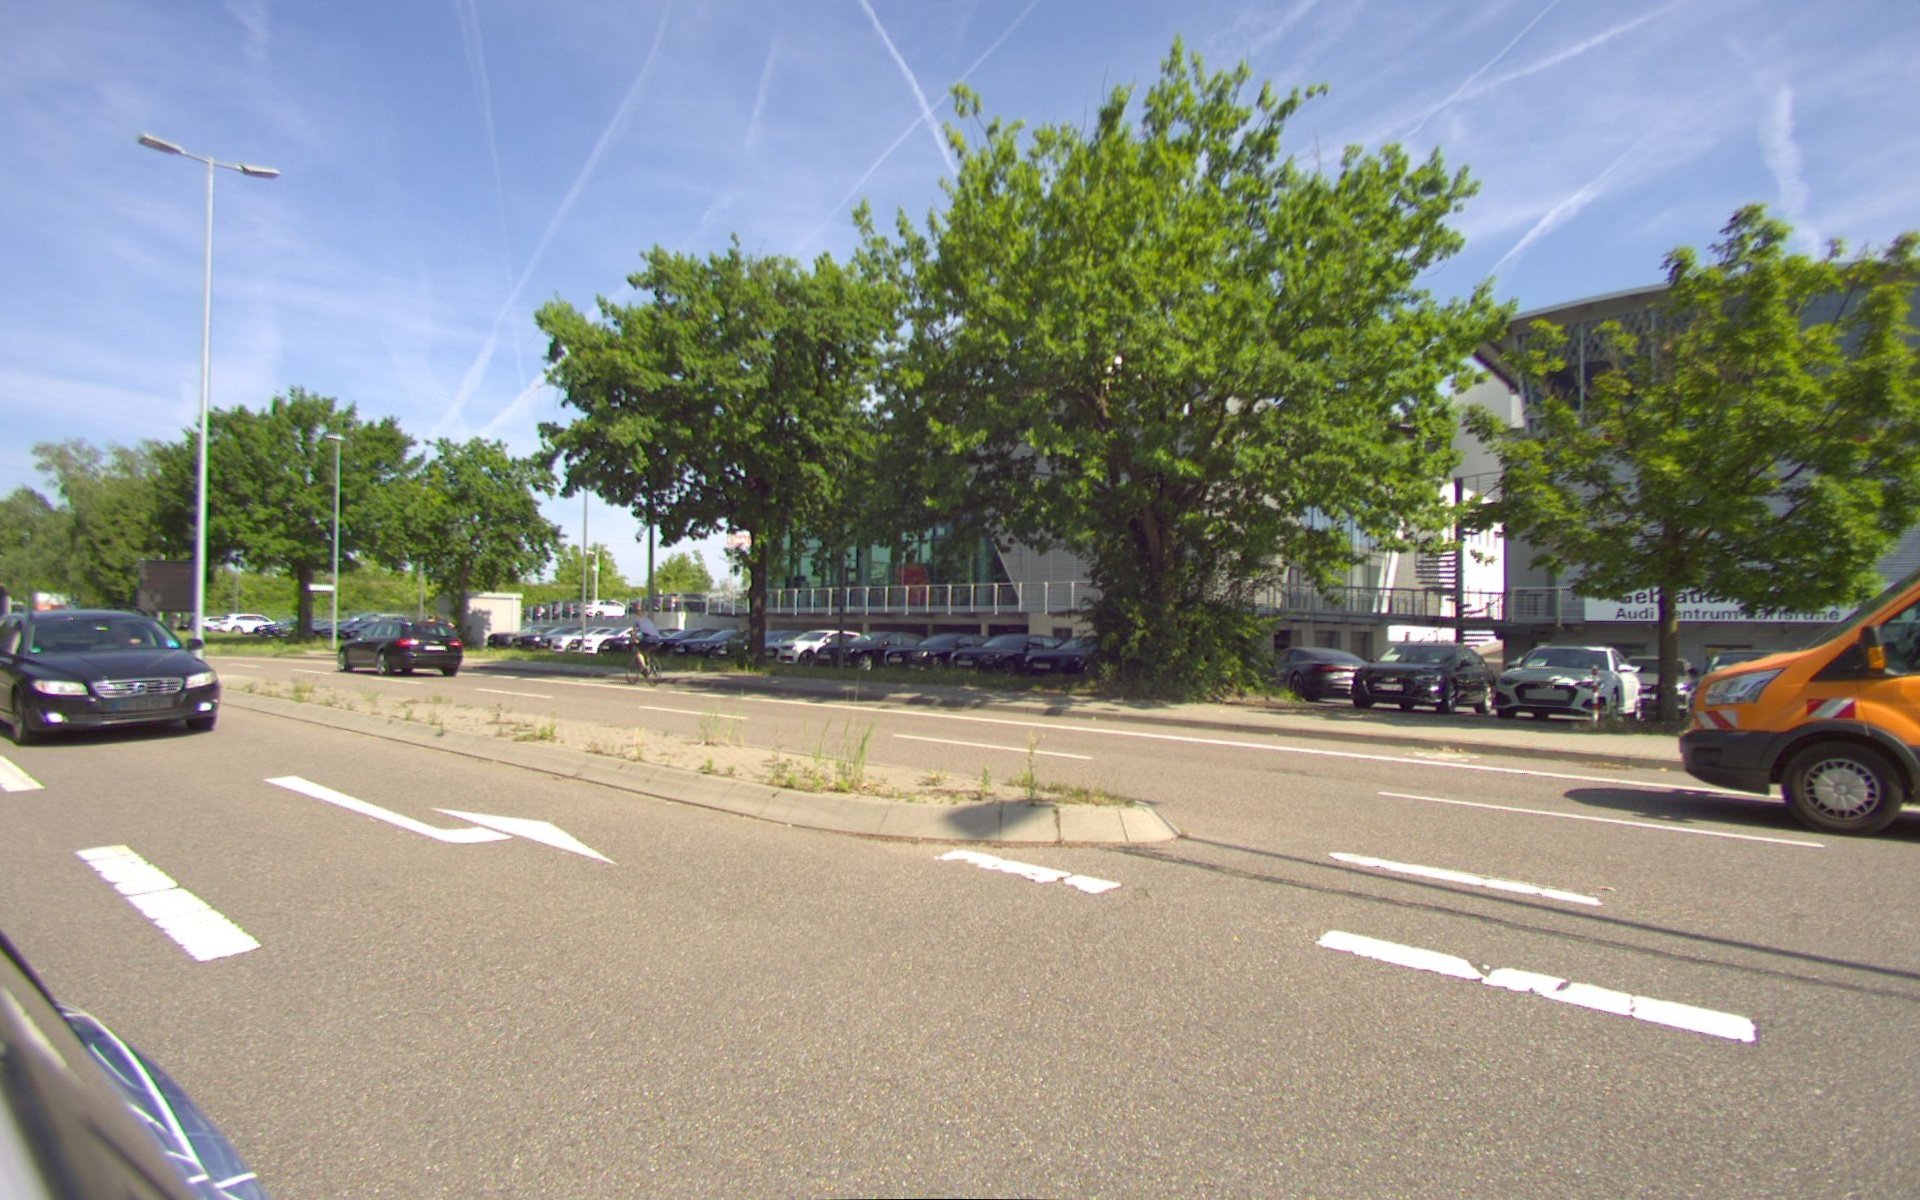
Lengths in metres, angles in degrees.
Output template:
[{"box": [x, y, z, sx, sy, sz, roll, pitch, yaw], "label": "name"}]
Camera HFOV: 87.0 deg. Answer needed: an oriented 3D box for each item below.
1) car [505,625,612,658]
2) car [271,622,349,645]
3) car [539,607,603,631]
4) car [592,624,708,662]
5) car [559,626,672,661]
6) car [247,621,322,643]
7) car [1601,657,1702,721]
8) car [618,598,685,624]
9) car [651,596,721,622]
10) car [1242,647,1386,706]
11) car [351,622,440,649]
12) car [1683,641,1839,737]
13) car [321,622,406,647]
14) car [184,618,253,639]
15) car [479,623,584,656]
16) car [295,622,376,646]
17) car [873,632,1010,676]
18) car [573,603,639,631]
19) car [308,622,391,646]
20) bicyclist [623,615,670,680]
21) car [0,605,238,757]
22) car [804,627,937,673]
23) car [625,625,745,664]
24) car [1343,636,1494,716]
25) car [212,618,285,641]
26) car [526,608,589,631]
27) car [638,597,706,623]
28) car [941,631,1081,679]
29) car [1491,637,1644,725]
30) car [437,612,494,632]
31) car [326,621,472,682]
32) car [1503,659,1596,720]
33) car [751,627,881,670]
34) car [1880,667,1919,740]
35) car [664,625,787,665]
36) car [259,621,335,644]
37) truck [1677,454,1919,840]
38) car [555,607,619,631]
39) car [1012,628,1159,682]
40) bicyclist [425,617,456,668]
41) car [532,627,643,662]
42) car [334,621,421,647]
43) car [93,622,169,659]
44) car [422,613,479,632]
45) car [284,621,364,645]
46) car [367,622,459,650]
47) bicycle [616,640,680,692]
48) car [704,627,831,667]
[{"box": [-18.088, 1.877, 45.699, 1.689, 1.256, 4.142, -1, -5, 42], "label": "car"}, {"box": [-44.609, 2.296, 69.521, 1.689, 1.333, 4.142, -1, -5, 42], "label": "car"}, {"box": [-29.513, 1.478, 76.901, 1.689, 1.510, 4.142, -1, -5, 42], "label": "car"}, {"box": [-12.371, 1.745, 40.555, 1.689, 1.309, 4.142, -1, -5, 42], "label": "car"}, {"box": [-14.366, 1.825, 42.354, 1.689, 1.265, 4.142, -1, -5, 42], "label": "car"}, {"box": [-48.640, 2.294, 72.946, 1.689, 1.333, 4.142, -1, -5, 42], "label": "car"}, {"box": [18.322, 2.286, 26.755, 1.803, 1.484, 3.778, -1, -2, 40], "label": "car"}, {"box": [-21.518, 0.777, 70.619, 1.689, 1.510, 4.142, -1, -5, 42], "label": "car"}, {"box": [-17.959, 0.642, 66.536, 1.689, 1.416, 4.142, -1, -5, 42], "label": "car"}, {"box": [8.742, 1.855, 25.341, 1.662, 1.343, 3.848, 1, -2, -11], "label": "car"}, {"box": [-32.799, 2.097, 58.888, 1.689, 1.333, 4.142, -1, -5, 42], "label": "car"}, {"box": [13.354, 1.481, 16.896, 1.833, 1.365, 4.069, -1, -5, 39], "label": "car"}, {"box": [-36.644, 2.129, 62.250, 1.689, 1.333, 4.142, -1, -5, 42], "label": "car"}, {"box": [-59.221, 2.306, 80.902, 1.689, 1.389, 4.142, -1, -5, 42], "label": "car"}, {"box": [-19.983, 1.868, 47.280, 1.689, 1.333, 4.142, -1, -5, 42], "label": "car"}, {"box": [-40.706, 2.219, 66.039, 1.689, 1.333, 4.142, -1, -5, 42], "label": "car"}, {"box": [-0.487, 1.635, 30.355, 1.719, 1.131, 4.142, -1, -5, 42], "label": "car"}, {"box": [-25.737, 1.249, 73.644, 1.689, 1.745, 4.142, -1, -5, 42], "label": "car"}, {"box": [-38.783, 2.166, 64.388, 1.689, 1.333, 4.142, -1, -5, 42], "label": "car"}, {"box": [-7.472, 1.121, 24.101, 1.143, 1.494, 0.564, -1, -3, 44], "label": "bicyclist"}, {"box": [-10.894, 0.868, 12.581, 4.862, 1.533, 1.859, -1, -1, 38], "label": "car"}, {"box": [-2.763, 1.613, 32.090, 1.689, 1.256, 4.142, -1, -5, 42], "label": "car"}, {"box": [-10.463, 1.721, 38.730, 1.689, 1.269, 4.142, -1, -5, 42], "label": "car"}, {"box": [9.316, 1.545, 20.402, 1.807, 1.412, 3.984, -1, -5, 39], "label": "car"}, {"box": [-53.301, 2.233, 75.853, 1.689, 1.510, 4.142, -1, -5, 42], "label": "car"}, {"box": [-31.188, 1.551, 78.462, 1.689, 1.510, 4.142, -1, -5, 42], "label": "car"}, {"box": [-19.518, 0.708, 68.756, 1.689, 1.510, 4.142, -1, -5, 42], "label": "car"}, {"box": [1.503, 1.565, 28.444, 1.695, 1.143, 4.142, -1, -5, 42], "label": "car"}, {"box": [11.260, 1.503, 18.632, 1.801, 1.405, 4.172, -1, -5, 40], "label": "car"}, {"box": [-43.337, 1.948, 88.782, 1.689, 1.510, 4.142, -1, -5, 42], "label": "car"}, {"box": [-15.096, 1.362, 27.136, 4.660, 1.471, 1.827, -1, -5, 40], "label": "car"}, {"box": [16.525, 2.439, 28.296, 1.688, 1.484, 3.779, -1, -2, 39], "label": "car"}, {"box": [-4.712, 1.631, 33.651, 1.689, 1.204, 4.142, -1, -5, 42], "label": "car"}, {"box": [22.132, 2.327, 23.055, 1.588, 1.484, 3.471, -1, -2, 40], "label": "car"}, {"box": [-8.482, 1.662, 36.901, 1.689, 1.264, 4.142, -1, -5, 42], "label": "car"}, {"box": [-46.551, 2.297, 71.094, 1.689, 1.333, 4.142, -1, -5, 41], "label": "car"}, {"box": [8.830, 0.346, 6.526, 6.669, 2.645, 2.350, -1, -4, 41], "label": "truck"}, {"box": [-27.743, 1.433, 75.381, 1.689, 1.510, 4.142, -1, -5, 42], "label": "car"}, {"box": [3.384, 1.471, 26.725, 1.796, 1.236, 4.142, -1, -5, 42], "label": "car"}, {"box": [-16.788, 1.381, 32.702, 0.910, 1.608, 0.570, -1, -4, 44], "label": "bicyclist"}, {"box": [-16.133, 1.953, 43.984, 1.689, 1.335, 4.142, -1, -5, 42], "label": "car"}, {"box": [-34.785, 2.031, 60.533, 1.689, 1.333, 4.142, -1, -5, 42], "label": "car"}, {"box": [-34.896, 1.702, 42.584, 3.866, 1.449, 1.710, -1, -4, 40], "label": "car"}, {"box": [-45.900, 2.032, 91.253, 1.689, 1.510, 4.142, -1, -5, 42], "label": "car"}, {"box": [-42.639, 2.235, 67.911, 1.689, 1.333, 4.142, -1, -5, 42], "label": "car"}, {"box": [-30.700, 2.035, 56.892, 1.689, 1.333, 4.142, -1, -5, 42], "label": "car"}, {"box": [-7.415, 1.550, 24.023, 1.925, 1.159, 0.565, -1, -3, 44], "label": "bicycle"}, {"box": [-6.638, 1.653, 35.173, 1.689, 1.215, 4.142, -1, -5, 42], "label": "car"}]
